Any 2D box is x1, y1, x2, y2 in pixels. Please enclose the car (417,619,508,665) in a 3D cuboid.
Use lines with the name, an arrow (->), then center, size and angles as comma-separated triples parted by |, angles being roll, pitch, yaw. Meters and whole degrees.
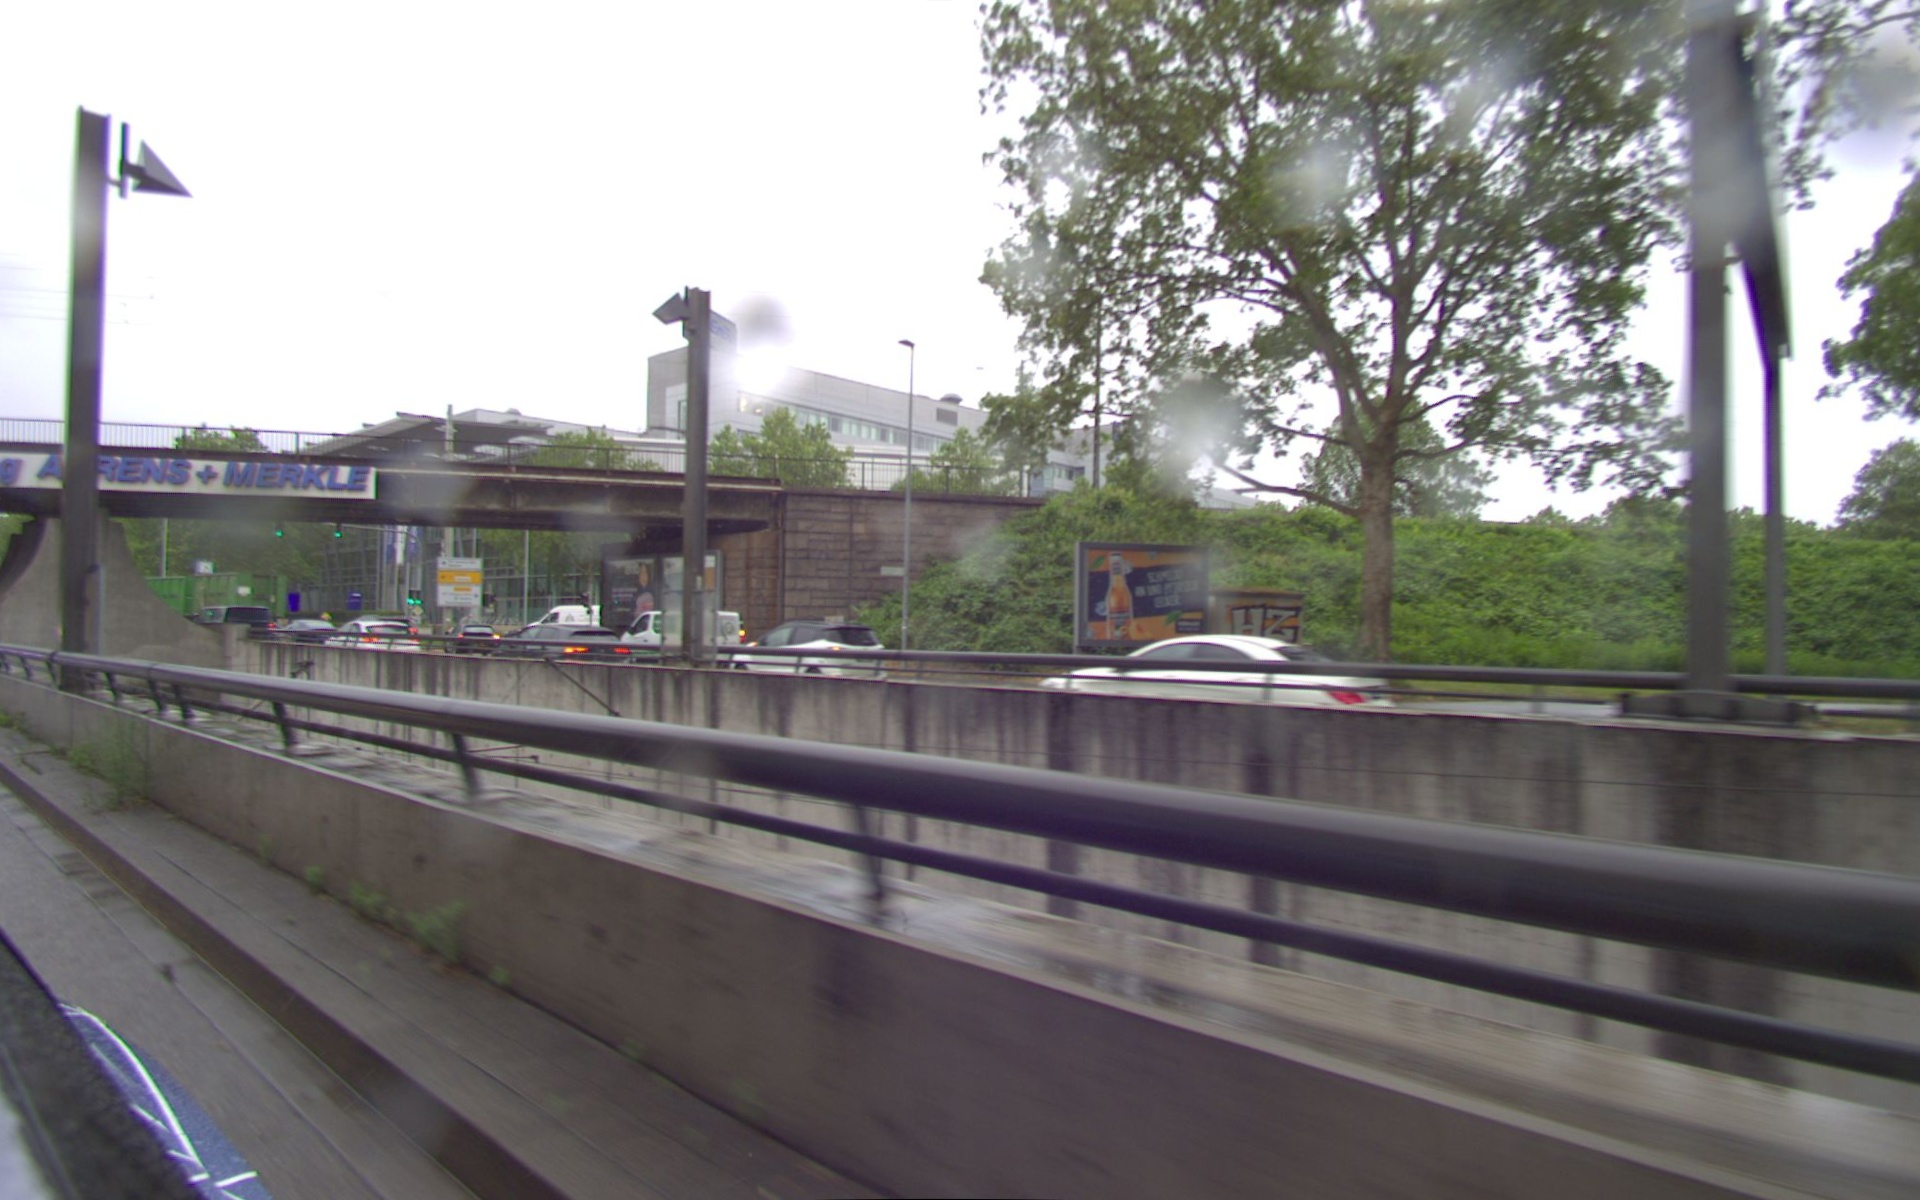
car -> -21.058, 1.729, 42.802 | 4.194, 1.804, 1.973 | -1, 0, 41

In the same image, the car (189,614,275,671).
car -> -30.637, 1.735, 42.543 | 4.365, 2.260, 1.973 | -1, 0, 41

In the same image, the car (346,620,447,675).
car -> -21.493, 1.744, 38.536 | 4.365, 1.944, 1.973 | -1, 0, 41

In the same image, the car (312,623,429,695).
car -> -18.323, 1.757, 31.399 | 3.998, 2.029, 1.973 | -1, 0, 41

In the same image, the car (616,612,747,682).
car -> -8.755, 1.406, 31.673 | 4.194, 2.029, 1.973 | -1, 0, 41

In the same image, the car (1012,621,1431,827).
car -> 3.074, 1.300, 12.509 | 4.613, 2.029, 1.973 | -1, 0, 41

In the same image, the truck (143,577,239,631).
truck -> -50.253, 0.274, 66.090 | 6.512, 3.334, 3.344 | -1, 0, 37

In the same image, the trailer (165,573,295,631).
trailer -> -44.911, 0.179, 62.091 | 11.102, 3.284, 3.292 | -1, 0, 37

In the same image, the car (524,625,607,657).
car -> -21.430, 2.205, 55.170 | 1.985, 1.561, 4.169 | -1, 0, 20

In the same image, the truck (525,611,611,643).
truck -> -26.673, 1.836, 69.039 | 5.174, 2.029, 2.221 | -1, 0, -14

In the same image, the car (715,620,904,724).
car -> -3.366, 1.472, 22.273 | 3.998, 2.029, 1.973 | -1, 0, 41

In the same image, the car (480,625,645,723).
car -> -9.313, 1.621, 23.592 | 3.998, 2.029, 1.973 | -1, 0, 41

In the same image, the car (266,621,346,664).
car -> -29.674, 1.868, 45.878 | 4.194, 1.804, 1.973 | -1, 0, 41

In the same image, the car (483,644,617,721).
car -> -12.614, 2.431, 30.998 | 4.508, 2.029, 1.973 | -1, 0, 41
